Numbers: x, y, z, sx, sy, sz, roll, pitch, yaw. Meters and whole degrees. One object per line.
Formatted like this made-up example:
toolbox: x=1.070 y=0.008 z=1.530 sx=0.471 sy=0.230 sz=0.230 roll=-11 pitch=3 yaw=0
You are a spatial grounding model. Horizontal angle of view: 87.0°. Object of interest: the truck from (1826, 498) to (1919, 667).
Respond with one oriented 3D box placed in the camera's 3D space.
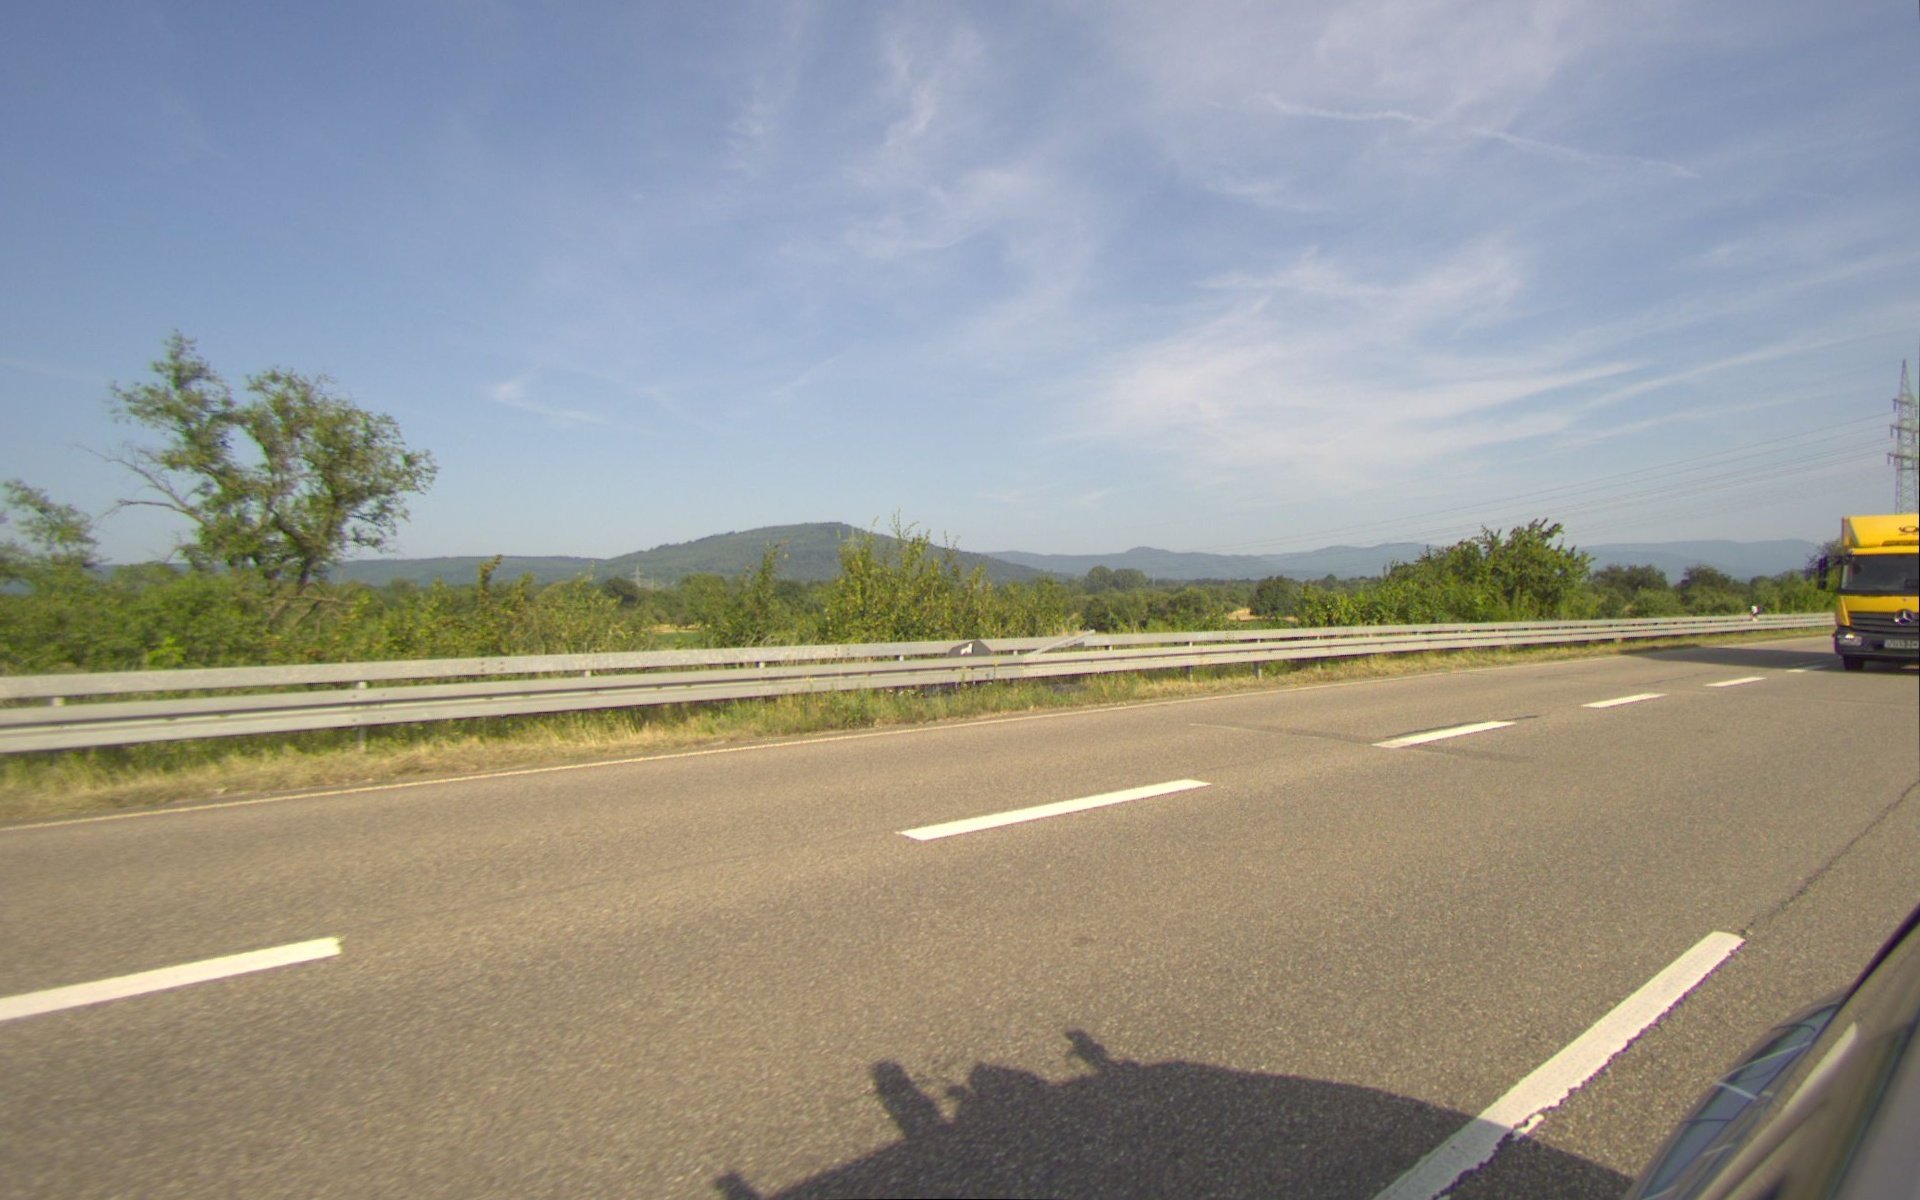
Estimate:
truck: x=22.993 y=-0.367 z=23.489 sx=10.303 sy=3.359 sz=2.784 roll=0 pitch=0 yaw=-40
